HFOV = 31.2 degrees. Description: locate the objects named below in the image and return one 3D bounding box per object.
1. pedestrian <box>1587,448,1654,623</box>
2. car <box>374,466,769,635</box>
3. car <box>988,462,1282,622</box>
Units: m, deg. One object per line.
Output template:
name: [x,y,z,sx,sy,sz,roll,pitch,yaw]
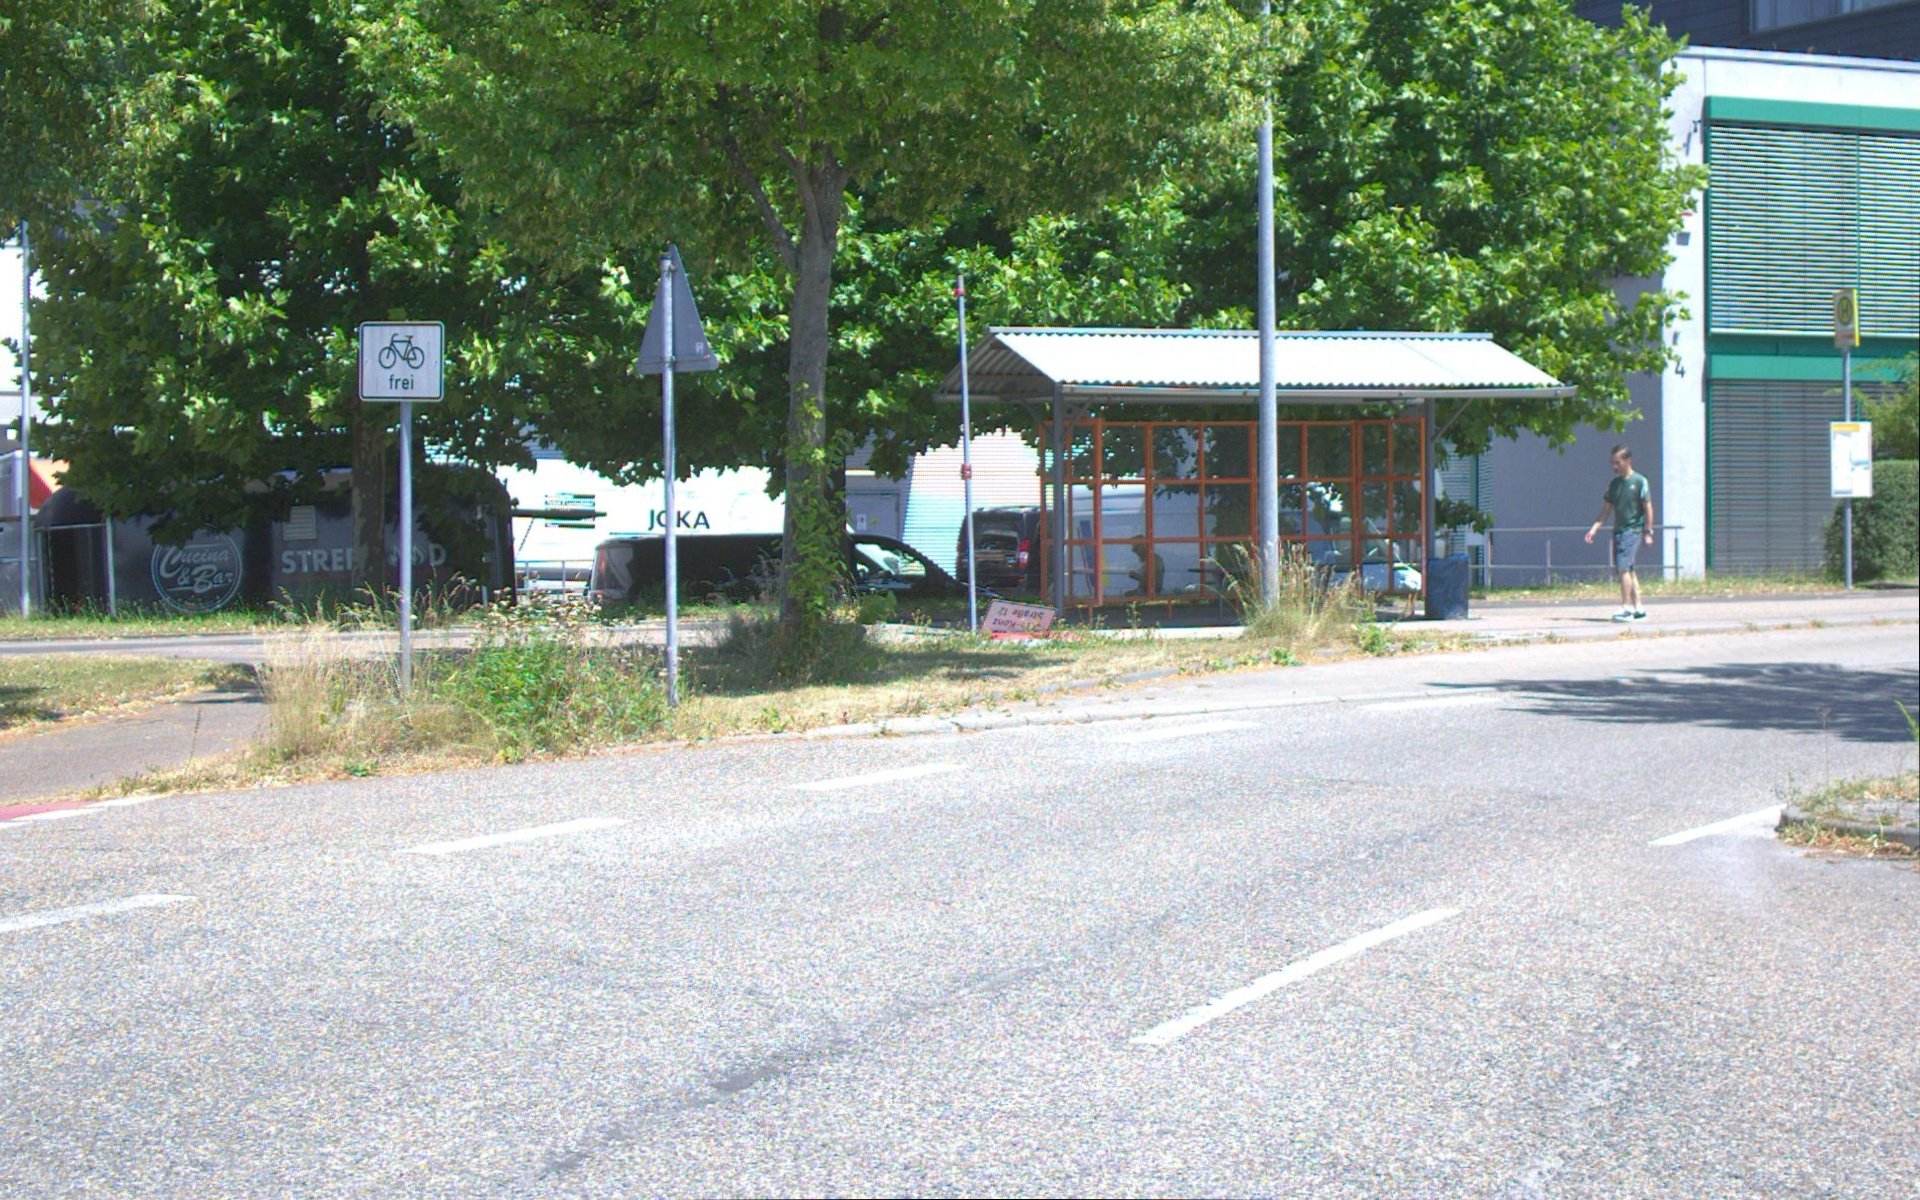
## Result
pedestrian: [6.344,-0.613,33.036,0.529,1.664,0.579,1,-1,2]
car: [-4.375,-0.572,38.700,3.986,1.722,1.841,-2,1,-24]
car: [2.279,-0.726,45.818,1.544,2.007,4.264,1,-1,-36]
